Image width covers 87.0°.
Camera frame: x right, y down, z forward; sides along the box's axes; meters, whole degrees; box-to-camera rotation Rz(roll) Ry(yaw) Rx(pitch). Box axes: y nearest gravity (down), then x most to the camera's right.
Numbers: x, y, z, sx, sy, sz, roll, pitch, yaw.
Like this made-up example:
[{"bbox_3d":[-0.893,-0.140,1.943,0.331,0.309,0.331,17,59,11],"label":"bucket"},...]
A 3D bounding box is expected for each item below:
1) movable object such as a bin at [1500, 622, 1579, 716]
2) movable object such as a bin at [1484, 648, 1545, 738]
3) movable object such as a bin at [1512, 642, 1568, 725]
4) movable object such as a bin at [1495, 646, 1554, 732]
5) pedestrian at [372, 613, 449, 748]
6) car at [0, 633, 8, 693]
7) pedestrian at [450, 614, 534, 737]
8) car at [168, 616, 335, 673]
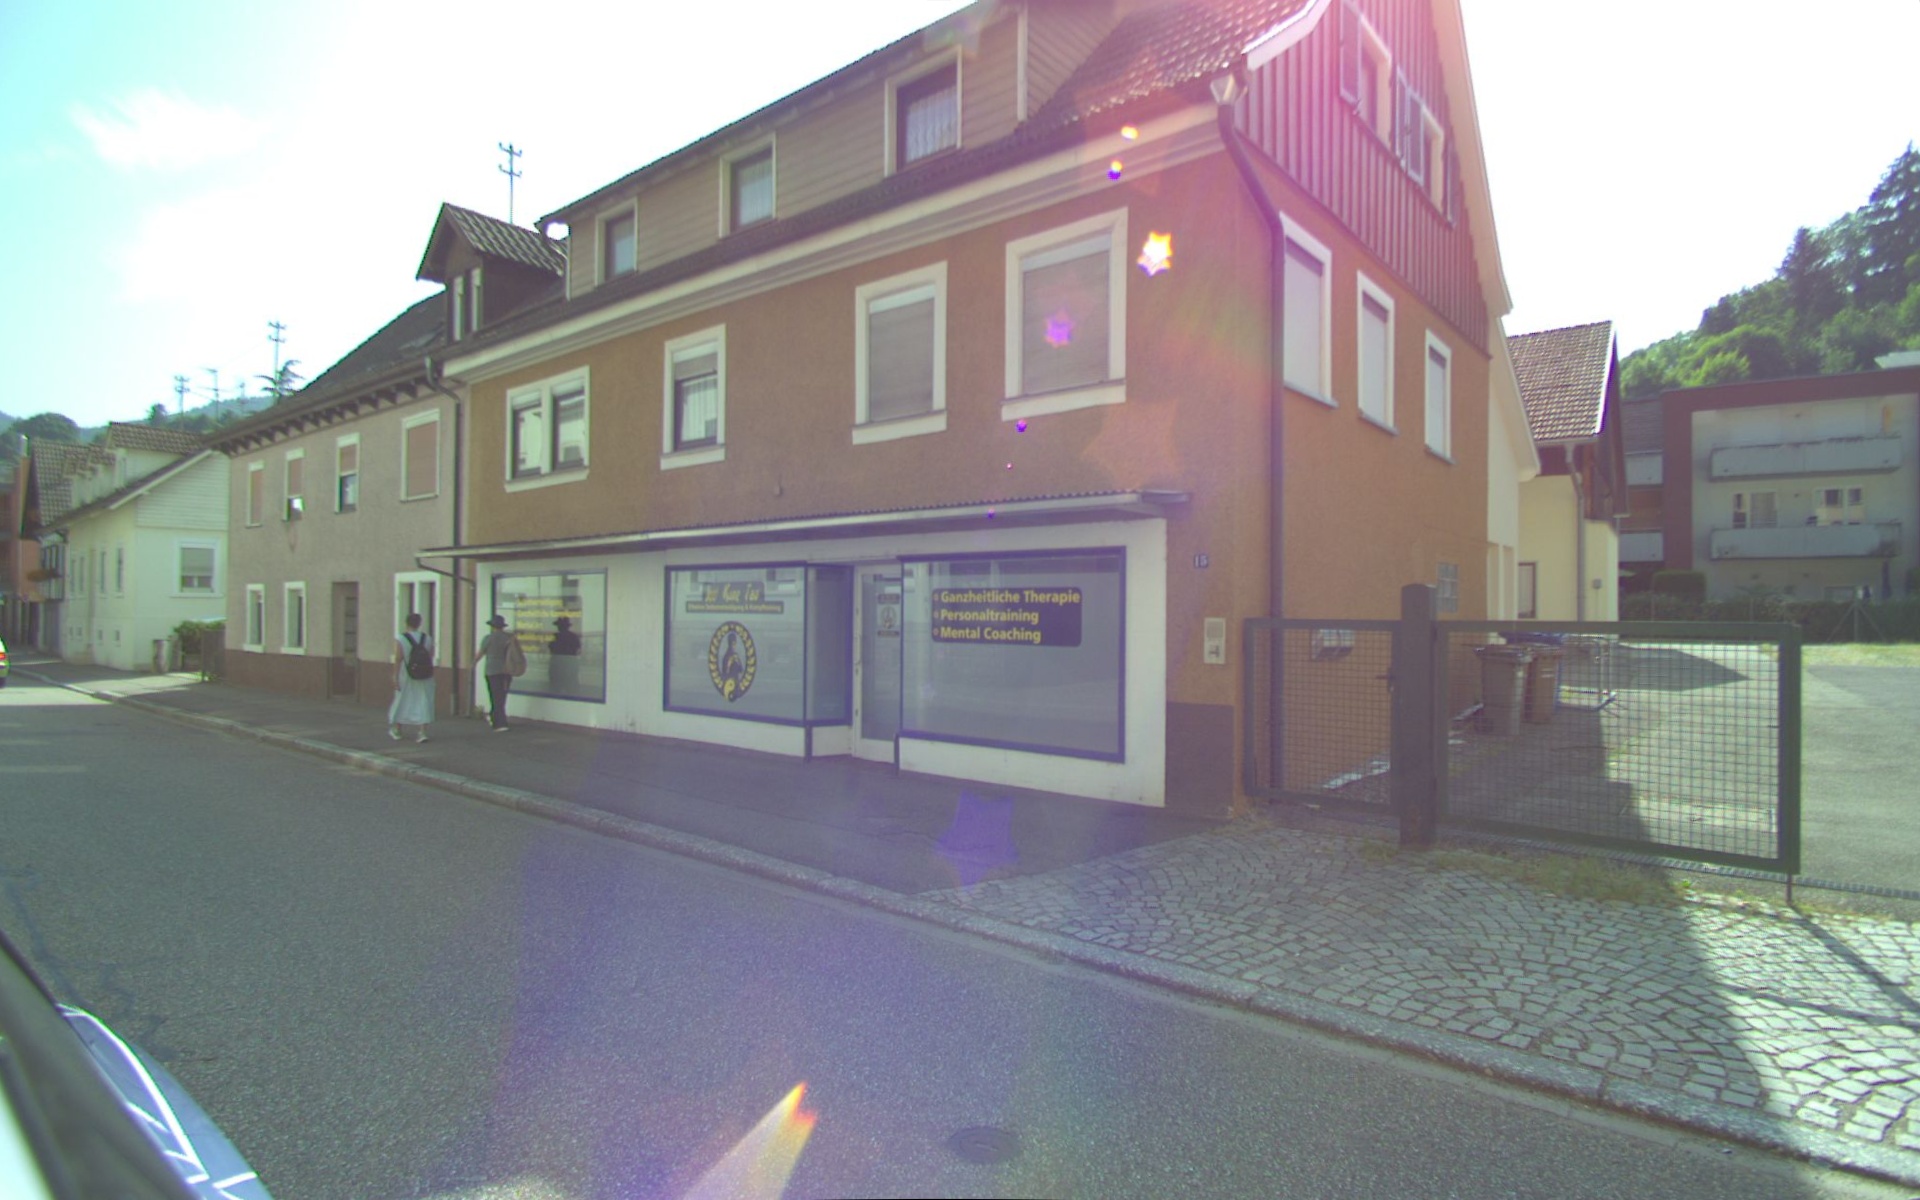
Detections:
[{"bbox_3d":[7.184,0.835,12.549,0.744,1.102,0.538,-2,-1,40],"label":"movable object such as a bin"},{"bbox_3d":[6.072,1.005,11.090,0.486,0.929,0.473,-2,-1,40],"label":"movable object such as a bin"},{"bbox_3d":[6.865,0.979,11.976,0.486,0.929,0.473,-2,-1,40],"label":"movable object such as a bin"},{"bbox_3d":[6.453,1.004,11.567,0.486,0.929,0.473,-2,-1,40],"label":"movable object such as a bin"},{"bbox_3d":[-6.952,0.989,12.805,0.777,1.639,0.632,-2,-2,42],"label":"pedestrian"},{"bbox_3d":[-25.301,1.512,25.419,3.657,1.475,1.580,-1,-6,41],"label":"car"},{"bbox_3d":[-6.337,0.997,13.704,0.824,1.576,0.727,-2,0,41],"label":"pedestrian"},{"bbox_3d":[-22.176,1.350,31.787,1.905,1.606,3.949,-1,-1,38],"label":"car"}]
